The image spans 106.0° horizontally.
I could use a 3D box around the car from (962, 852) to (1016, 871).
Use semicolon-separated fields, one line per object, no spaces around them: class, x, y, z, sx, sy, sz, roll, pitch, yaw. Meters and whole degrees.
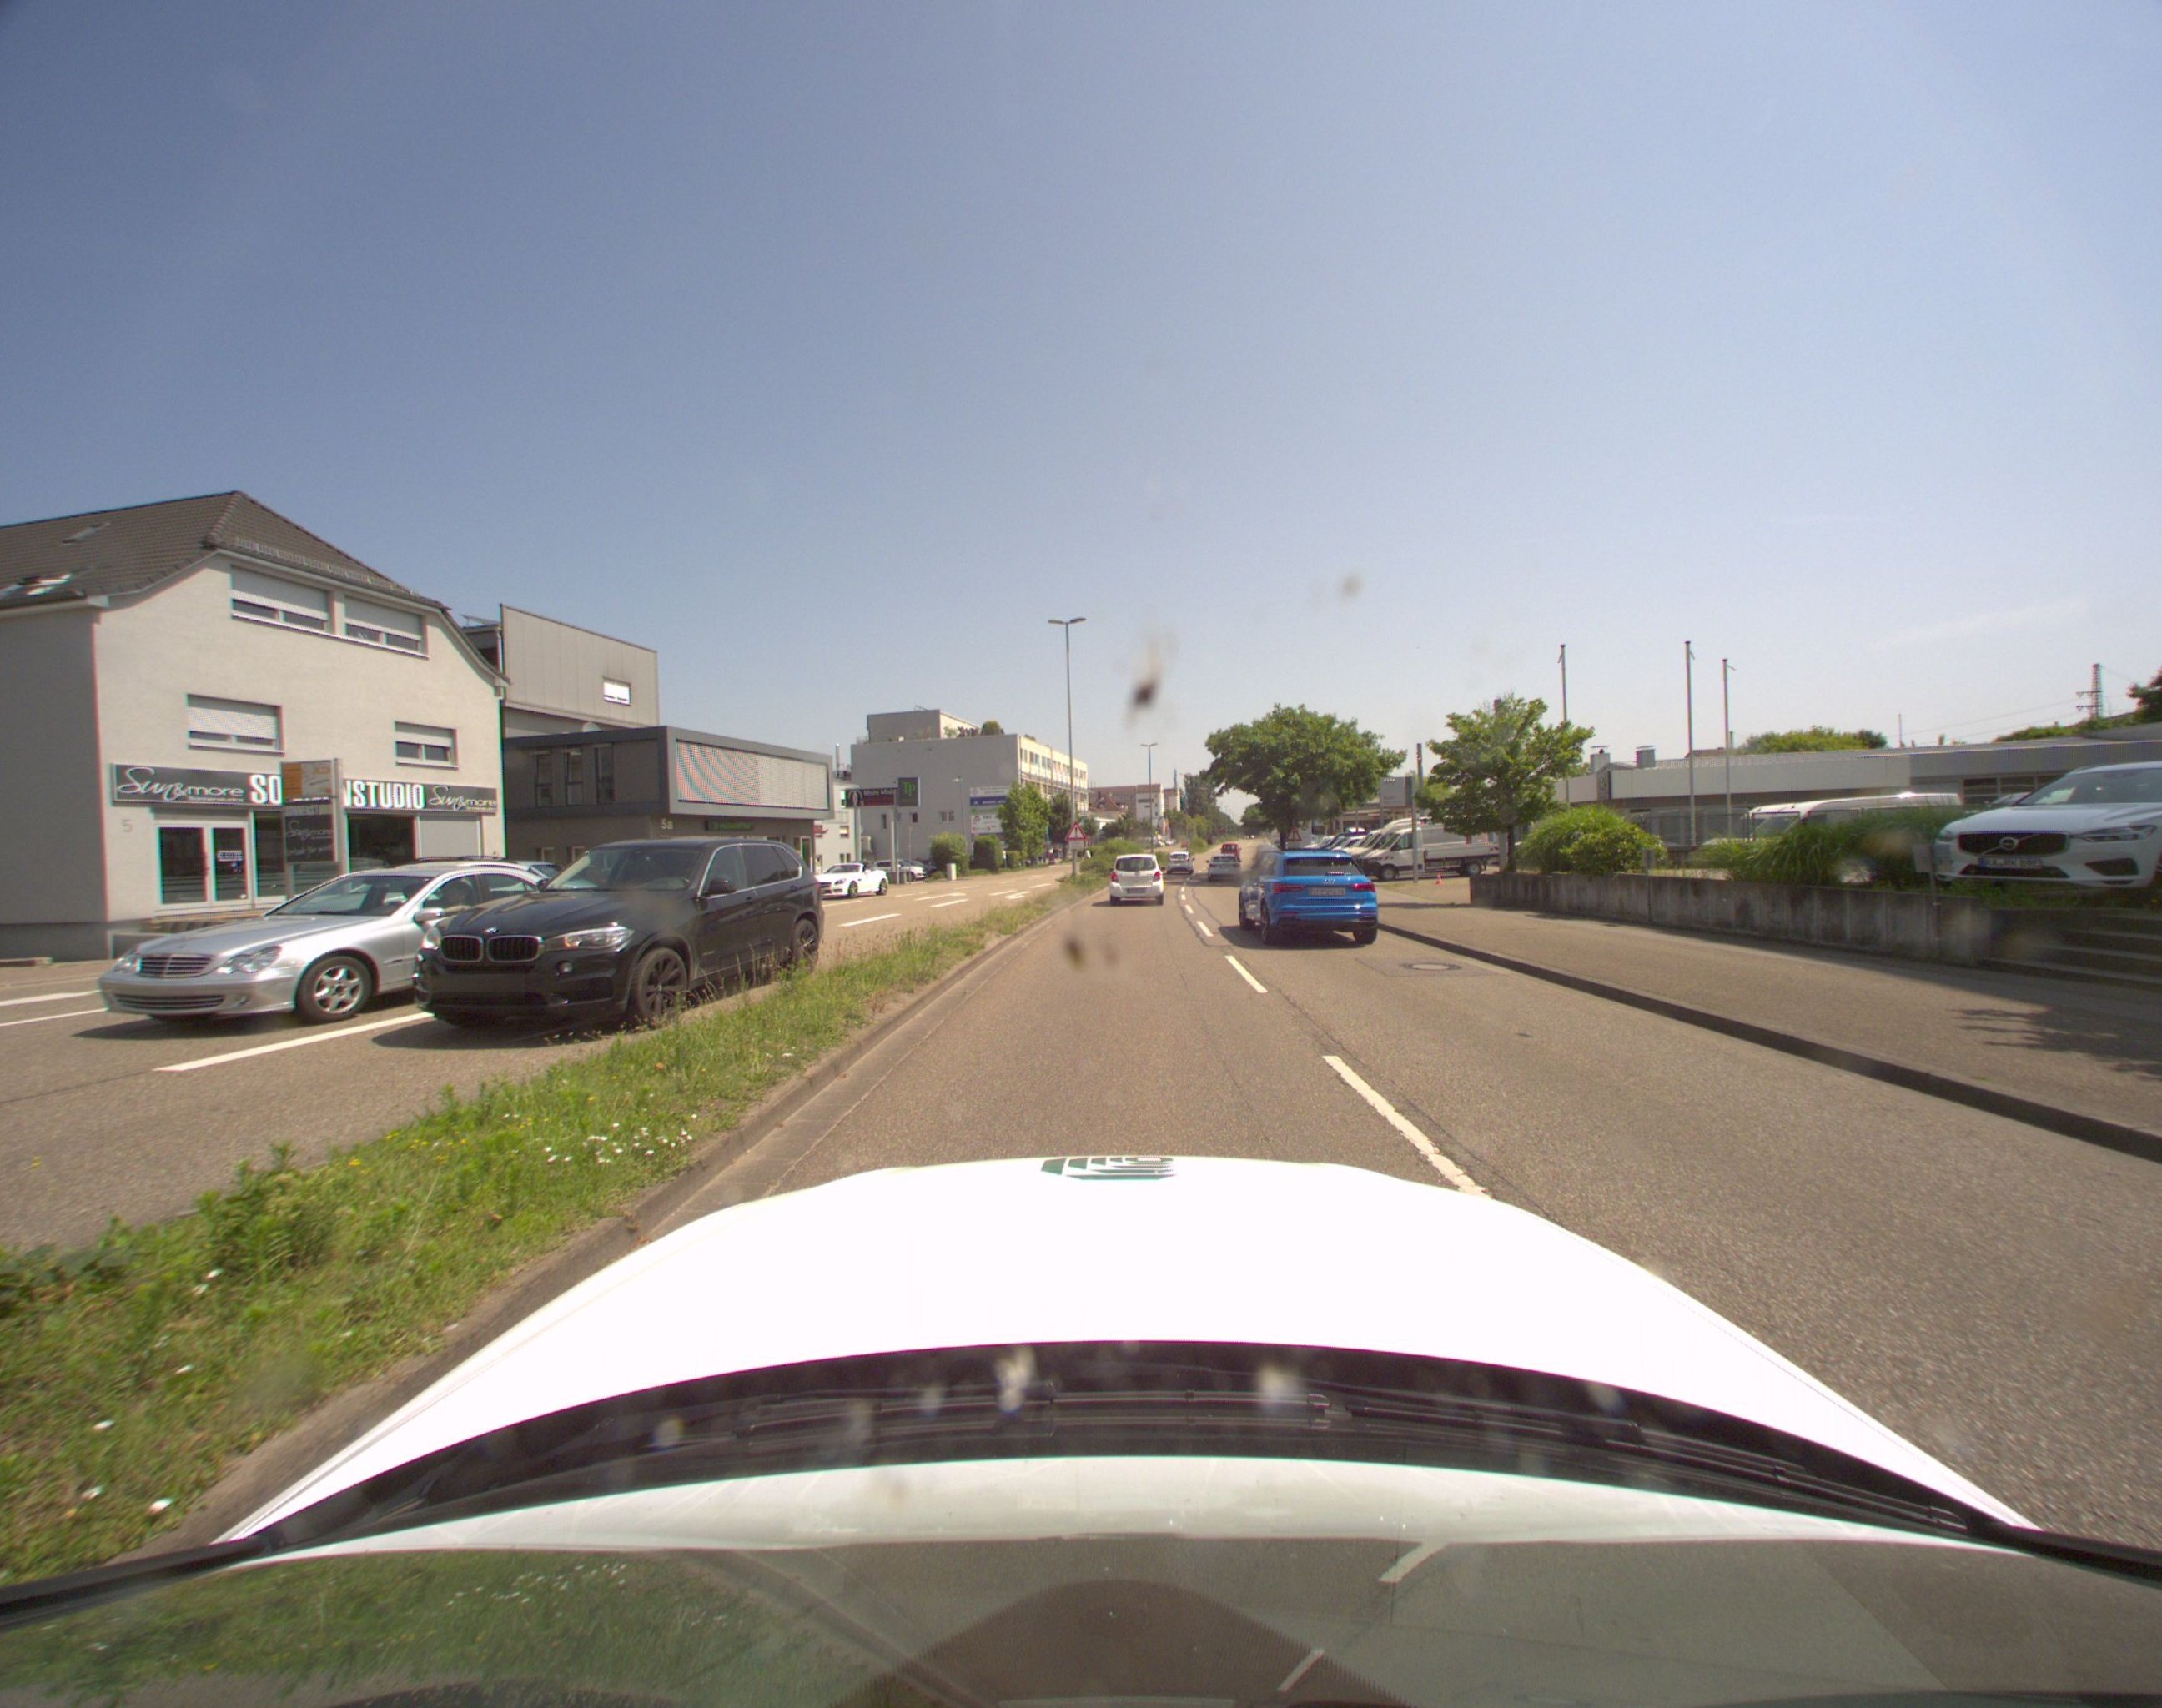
car;-7.969;0.628;70.683;4.124;1.342;2.048;-3;1;9

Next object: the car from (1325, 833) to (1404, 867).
car;20.229;-0.281;58.368;5.032;2.097;2.046;-4;0;11

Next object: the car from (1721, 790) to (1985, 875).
car;24.503;-0.614;26.162;5.843;2.528;2.128;-1;-1;14

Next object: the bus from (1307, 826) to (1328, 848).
bus;35.627;-2.614;122.881;2.783;3.078;12.337;-1;2;15

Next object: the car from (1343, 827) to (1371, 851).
car;32.644;-1.777;96.560;2.241;2.675;7.042;-2;1;12

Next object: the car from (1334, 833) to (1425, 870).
car;18.187;-0.172;49.862;4.880;1.971;2.149;-3;0;11

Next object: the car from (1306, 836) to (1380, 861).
car;22.021;-0.459;68.672;5.851;2.013;2.268;0;0;14

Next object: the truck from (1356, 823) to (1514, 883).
truck;15.963;-0.049;37.116;6.202;2.336;2.377;-3;1;12

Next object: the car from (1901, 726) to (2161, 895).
car;12.759;-0.428;9.767;4.731;1.714;1.990;0;-1;-14

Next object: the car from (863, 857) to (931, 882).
car;-12.026;1.021;53.225;3.966;1.459;1.578;-2;-1;6

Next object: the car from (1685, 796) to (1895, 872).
car;24.989;-0.635;28.935;5.245;2.537;2.044;-1;-1;13

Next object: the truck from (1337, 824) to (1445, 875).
truck;16.840;-0.232;44.495;5.211;2.435;2.119;-3;0;13

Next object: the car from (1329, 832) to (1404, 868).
car;19.362;-0.250;55.402;4.479;2.014;2.205;-5;-1;12

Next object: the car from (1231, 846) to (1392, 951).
car;4.027;0.677;15.003;1.905;1.597;4.399;-2;0;3

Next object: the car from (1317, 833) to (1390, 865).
car;20.277;-0.398;60.860;4.868;2.114;2.136;-3;1;10

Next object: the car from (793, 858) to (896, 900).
car;-8.538;0.876;29.791;1.793;1.354;4.368;-1;0;11

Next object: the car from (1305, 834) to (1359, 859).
car;23.578;-0.729;76.703;4.612;2.013;1.966;-3;1;9

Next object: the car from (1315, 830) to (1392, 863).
car;21.923;-0.592;65.774;5.801;2.524;2.213;-1;-1;14

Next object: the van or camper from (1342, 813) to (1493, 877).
van or camper;17.015;-0.428;41.557;6.753;2.897;2.282;-2;1;11

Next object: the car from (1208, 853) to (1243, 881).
car;7.779;0.678;43.658;1.655;1.399;3.806;-1;0;13

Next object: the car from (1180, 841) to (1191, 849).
car;21.072;-1.838;164.496;1.619;1.424;3.463;-5;-1;14

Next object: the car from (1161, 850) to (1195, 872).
car;6.434;0.459;54.360;1.824;1.450;4.000;0;0;0

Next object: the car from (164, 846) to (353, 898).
car;-27.106;0.555;26.923;4.586;1.496;1.754;2;1;3

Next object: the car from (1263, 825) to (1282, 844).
car;30.374;-3.052;129.198;2.121;2.839;7.326;-5;0;8

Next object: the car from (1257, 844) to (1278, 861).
car;18.259;-0.134;79.919;1.703;1.548;4.804;-2;0;10

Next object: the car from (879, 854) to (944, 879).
car;-11.637;0.848;55.962;3.968;1.371;1.675;-3;1;14

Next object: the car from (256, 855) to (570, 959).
car;-11.497;0.831;14.493;1.888;1.566;4.204;-1;-1;5

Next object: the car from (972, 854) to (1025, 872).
car;-7.423;0.808;73.456;4.196;1.349;1.987;-3;1;11

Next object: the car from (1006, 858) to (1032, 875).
car;-6.399;1.261;84.741;1.648;1.467;3.810;-4;0;11

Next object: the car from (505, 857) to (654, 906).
car;-17.571;0.950;28.639;4.033;1.521;2.005;-2;0;8

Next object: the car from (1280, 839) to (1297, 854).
car;24.946;-0.909;97.896;1.656;1.596;4.628;-3;1;12

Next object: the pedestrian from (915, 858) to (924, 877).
pedestrian;-14.430;1.209;72.765;0.542;1.657;0.627;-1;-1;10

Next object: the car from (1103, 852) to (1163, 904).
car;1.689;0.739;25.486;1.703;1.511;3.252;0;-1;6

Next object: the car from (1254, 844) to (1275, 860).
car;19.166;-0.256;85.237;1.723;1.552;4.189;-1;1;7

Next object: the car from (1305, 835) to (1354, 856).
car;23.341;-0.787;76.665;4.124;1.781;1.887;-3;-1;10

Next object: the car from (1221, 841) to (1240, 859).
car;14.673;-0.391;80.243;1.784;1.729;3.984;0;0;10

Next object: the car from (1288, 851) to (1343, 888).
car;9.695;0.605;33.922;1.786;1.406;4.332;0;0;10

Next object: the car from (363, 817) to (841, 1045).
car;-4.460;0.633;8.731;1.899;1.751;4.768;0;-1;6

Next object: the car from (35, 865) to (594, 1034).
car;-7.653;0.830;8.863;1.888;1.361;4.204;-1;-1;5

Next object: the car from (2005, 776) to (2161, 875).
car;31.705;-0.807;23.869;6.074;2.810;2.007;-1;-1;13

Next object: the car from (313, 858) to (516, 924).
car;-18.657;0.997;22.884;4.576;1.627;1.859;1;0;11
